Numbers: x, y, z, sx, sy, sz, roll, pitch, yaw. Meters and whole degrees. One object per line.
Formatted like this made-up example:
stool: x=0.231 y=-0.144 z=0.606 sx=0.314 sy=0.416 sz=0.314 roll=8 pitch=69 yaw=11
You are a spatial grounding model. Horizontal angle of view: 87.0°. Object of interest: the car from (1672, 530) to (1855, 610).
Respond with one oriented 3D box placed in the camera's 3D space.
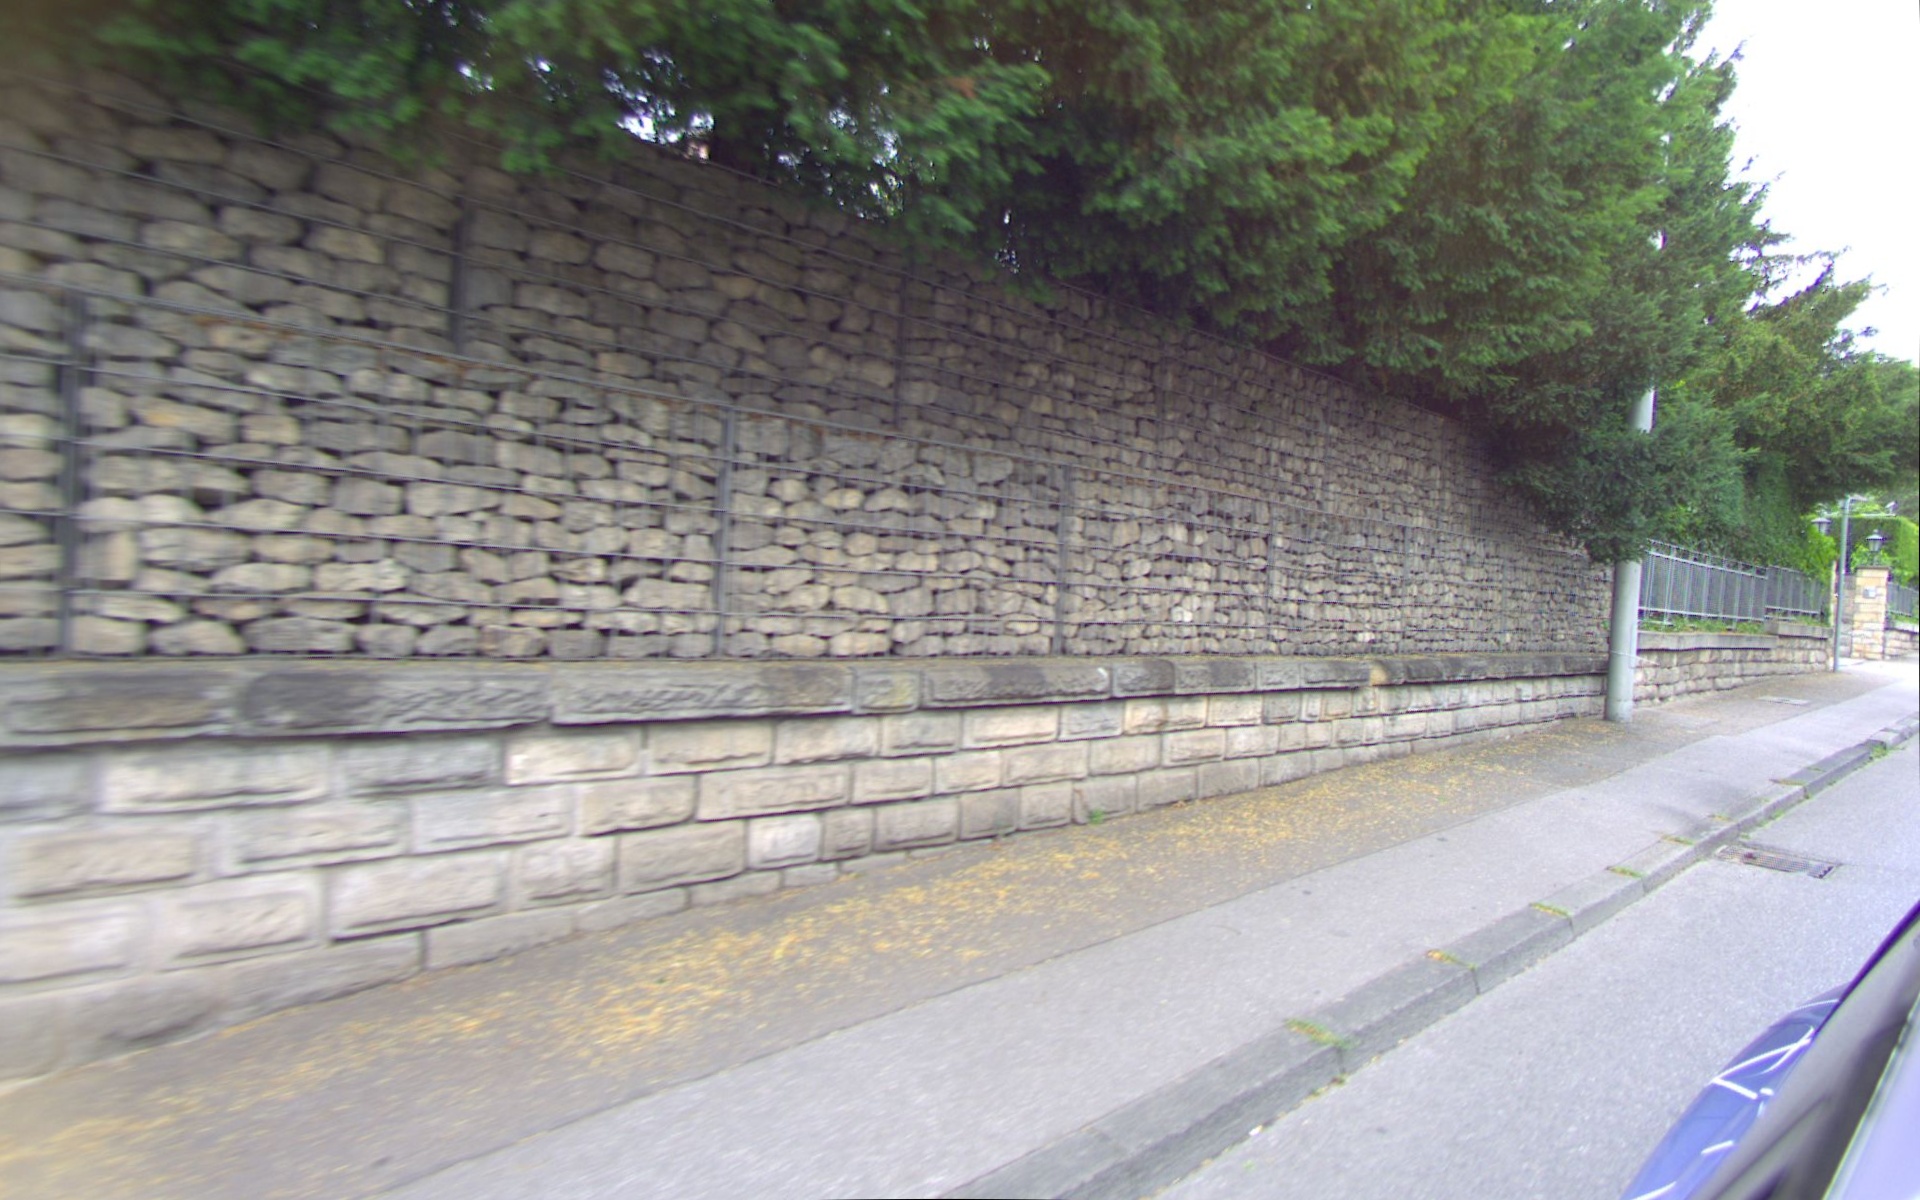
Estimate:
car: x=23.655 y=-0.910 z=29.890 sx=1.782 sy=1.628 sz=3.756 roll=0 pitch=12 yaw=-41
